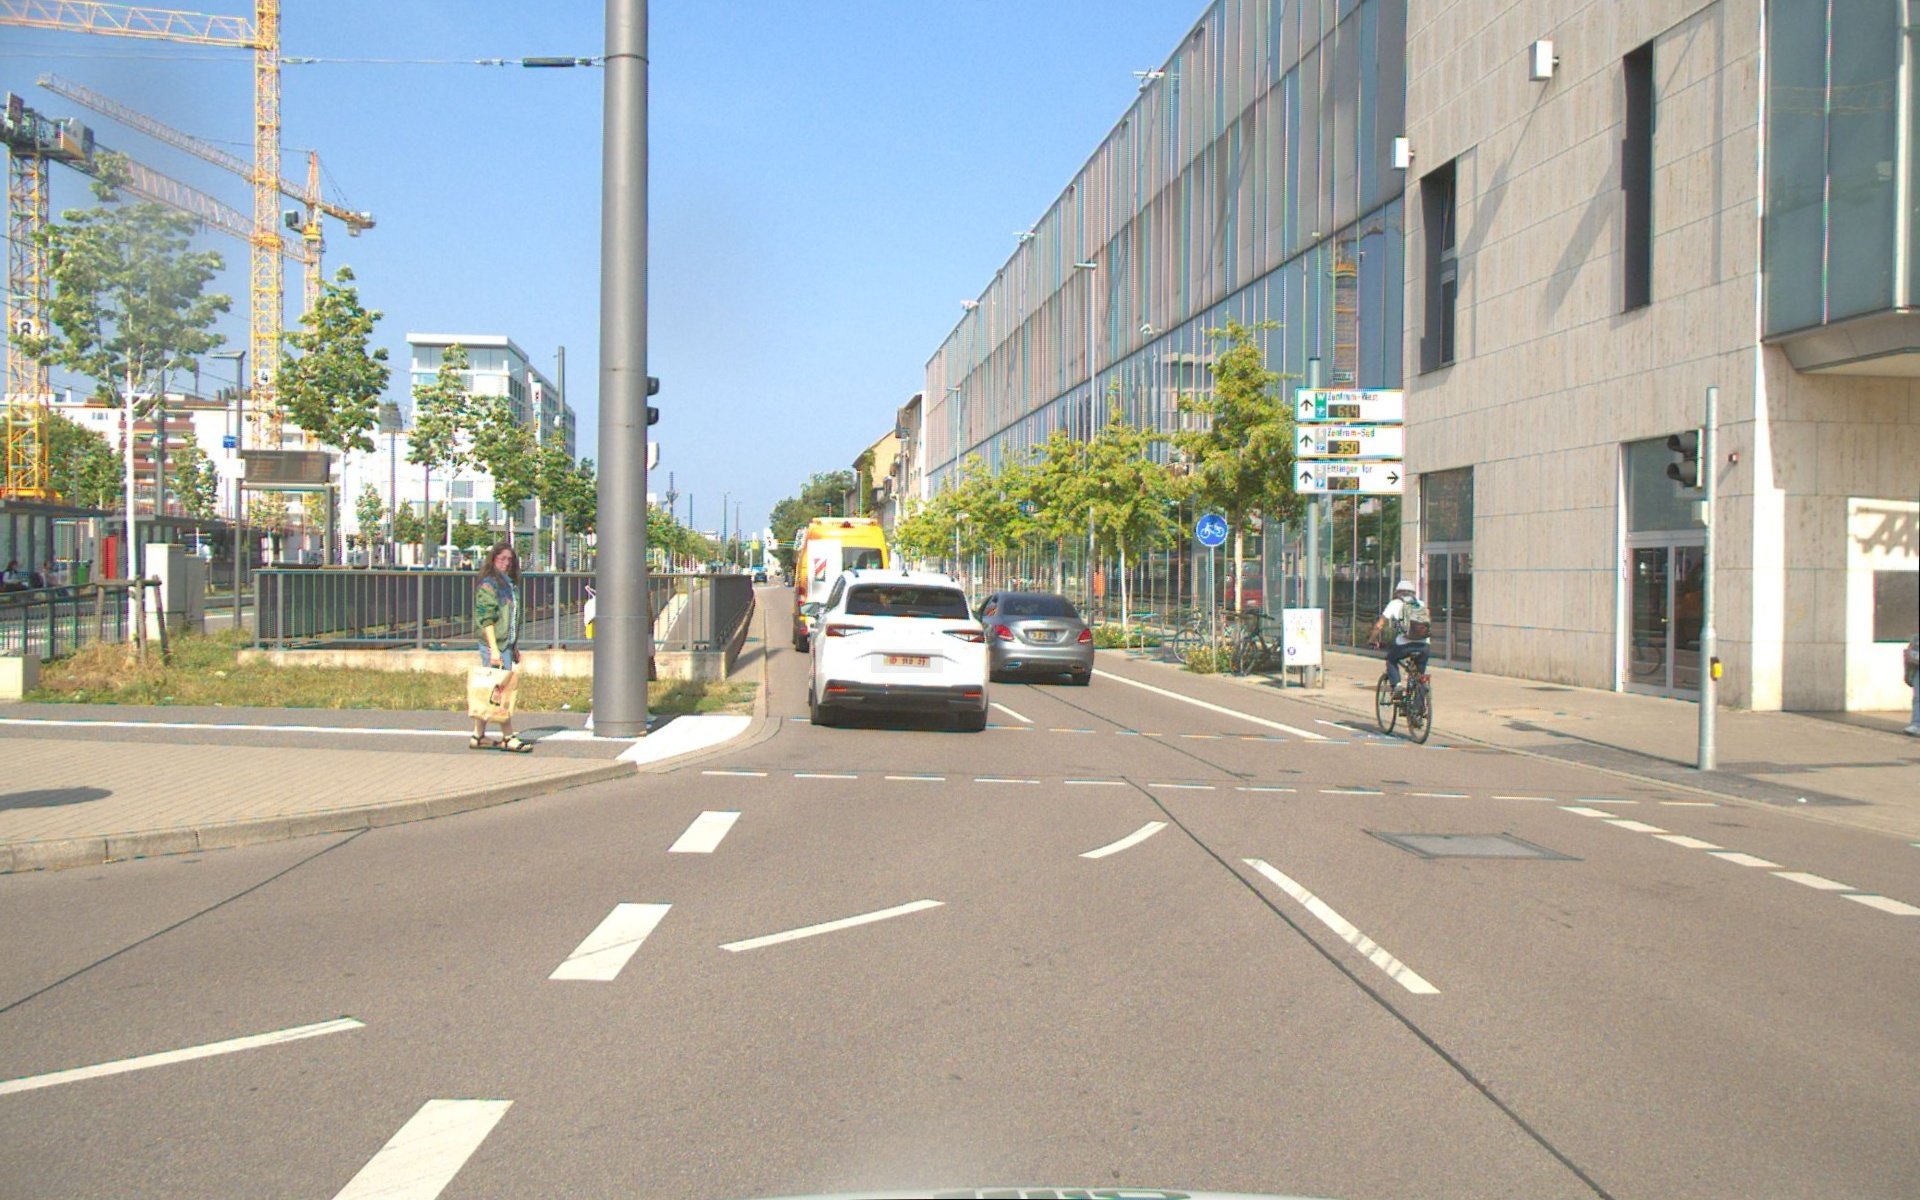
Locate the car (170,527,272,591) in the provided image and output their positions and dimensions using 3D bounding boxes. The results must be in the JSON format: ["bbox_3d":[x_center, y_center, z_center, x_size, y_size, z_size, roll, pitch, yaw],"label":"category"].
[{"bbox_3d":[-44.374,-2.403,99.620,2.996,3.574,9.219,1,1,-7],"label":"car"}]

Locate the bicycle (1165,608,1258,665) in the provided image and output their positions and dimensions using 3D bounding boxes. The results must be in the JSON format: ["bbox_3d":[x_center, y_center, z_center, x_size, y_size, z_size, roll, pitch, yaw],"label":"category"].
[{"bbox_3d":[5.197,0.751,34.219,1.842,1.128,0.490,1,1,-5],"label":"bicycle"}]

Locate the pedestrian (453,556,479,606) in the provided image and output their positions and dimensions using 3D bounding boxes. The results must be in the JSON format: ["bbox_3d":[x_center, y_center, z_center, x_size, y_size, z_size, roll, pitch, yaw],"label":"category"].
[{"bbox_3d":[-16.563,-0.647,55.444,0.722,1.647,0.709,1,0,-8],"label":"pedestrian"}]

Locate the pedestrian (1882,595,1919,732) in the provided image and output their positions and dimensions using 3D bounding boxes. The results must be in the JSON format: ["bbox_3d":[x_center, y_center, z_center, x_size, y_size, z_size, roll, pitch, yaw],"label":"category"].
[{"bbox_3d":[10.970,0.703,18.727,0.695,1.513,0.603,0,1,-11],"label":"pedestrian"}]

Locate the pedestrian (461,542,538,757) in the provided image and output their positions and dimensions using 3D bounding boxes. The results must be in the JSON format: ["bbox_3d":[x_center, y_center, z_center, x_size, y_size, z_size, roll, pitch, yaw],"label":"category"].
[{"bbox_3d":[-3.698,0.383,13.323,0.458,1.678,0.776,1,1,-7],"label":"pedestrian"}]

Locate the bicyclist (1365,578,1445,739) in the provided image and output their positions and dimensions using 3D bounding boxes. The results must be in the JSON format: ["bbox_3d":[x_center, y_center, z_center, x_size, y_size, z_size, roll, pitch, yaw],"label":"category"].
[{"bbox_3d":[5.033,0.650,18.744,0.638,1.779,0.769,0,1,-4],"label":"bicyclist"}]

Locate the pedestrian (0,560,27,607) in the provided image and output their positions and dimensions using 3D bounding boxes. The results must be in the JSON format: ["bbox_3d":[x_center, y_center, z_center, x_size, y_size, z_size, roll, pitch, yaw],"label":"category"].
[{"bbox_3d":[-26.729,-0.468,46.538,0.668,1.322,0.591,0,1,-10],"label":"pedestrian"}]

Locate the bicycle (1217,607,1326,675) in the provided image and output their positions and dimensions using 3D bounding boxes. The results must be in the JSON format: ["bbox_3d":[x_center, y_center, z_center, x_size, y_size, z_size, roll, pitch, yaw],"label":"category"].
[{"bbox_3d":[5.652,0.739,30.071,1.803,1.132,0.686,2,1,-5],"label":"bicycle"}]

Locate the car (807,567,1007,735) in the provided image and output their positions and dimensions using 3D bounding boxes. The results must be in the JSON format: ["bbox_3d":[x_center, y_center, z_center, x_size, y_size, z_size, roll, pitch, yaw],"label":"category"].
[{"bbox_3d":[-0.685,0.460,17.943,1.834,1.602,3.995,1,1,-7],"label":"car"}]

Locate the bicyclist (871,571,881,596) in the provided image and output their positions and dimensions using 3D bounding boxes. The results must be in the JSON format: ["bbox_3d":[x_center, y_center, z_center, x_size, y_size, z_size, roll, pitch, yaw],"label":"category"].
[{"bbox_3d":[-5.424,-1.082,106.501,0.626,1.604,0.770,1,1,-5],"label":"bicyclist"}]

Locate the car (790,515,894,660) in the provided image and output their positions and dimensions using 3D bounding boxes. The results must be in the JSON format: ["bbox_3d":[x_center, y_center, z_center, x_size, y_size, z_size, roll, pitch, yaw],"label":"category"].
[{"bbox_3d":[-2.611,-0.315,35.453,1.981,2.844,5.393,1,1,-7],"label":"car"}]

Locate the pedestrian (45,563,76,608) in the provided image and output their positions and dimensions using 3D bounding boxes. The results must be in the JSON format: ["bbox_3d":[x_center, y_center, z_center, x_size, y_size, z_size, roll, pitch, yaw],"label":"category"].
[{"bbox_3d":[-26.955,-0.439,49.580,0.668,1.322,0.591,0,1,-10],"label":"pedestrian"}]

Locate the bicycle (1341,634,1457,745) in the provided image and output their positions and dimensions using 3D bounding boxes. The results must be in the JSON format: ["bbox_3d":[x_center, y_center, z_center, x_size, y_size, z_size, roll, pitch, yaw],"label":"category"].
[{"bbox_3d":[5.020,0.997,19.059,0.648,1.137,2.049,0,1,-4],"label":"bicycle"}]

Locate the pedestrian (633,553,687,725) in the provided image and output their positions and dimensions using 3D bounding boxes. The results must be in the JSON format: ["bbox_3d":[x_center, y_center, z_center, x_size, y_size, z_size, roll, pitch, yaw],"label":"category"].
[{"bbox_3d":[-3.000,0.373,16.594,0.458,1.678,0.776,1,1,-7],"label":"pedestrian"}]

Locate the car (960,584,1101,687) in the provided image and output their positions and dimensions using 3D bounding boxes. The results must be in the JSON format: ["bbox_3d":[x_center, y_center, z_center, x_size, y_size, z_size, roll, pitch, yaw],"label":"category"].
[{"bbox_3d":[1.082,0.526,27.410,1.726,1.461,4.110,2,1,-6],"label":"car"}]

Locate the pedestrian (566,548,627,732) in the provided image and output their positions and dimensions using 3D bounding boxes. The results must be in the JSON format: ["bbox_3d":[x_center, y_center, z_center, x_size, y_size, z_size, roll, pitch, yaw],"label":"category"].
[{"bbox_3d":[-3.413,0.362,15.578,0.458,1.678,0.776,1,1,-7],"label":"pedestrian"}]

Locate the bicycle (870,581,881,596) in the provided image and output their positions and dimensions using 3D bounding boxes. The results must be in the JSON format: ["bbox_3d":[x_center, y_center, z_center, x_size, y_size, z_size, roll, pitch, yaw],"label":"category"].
[{"bbox_3d":[-5.451,-0.749,106.610,0.642,0.955,1.516,1,1,-5],"label":"bicycle"}]
